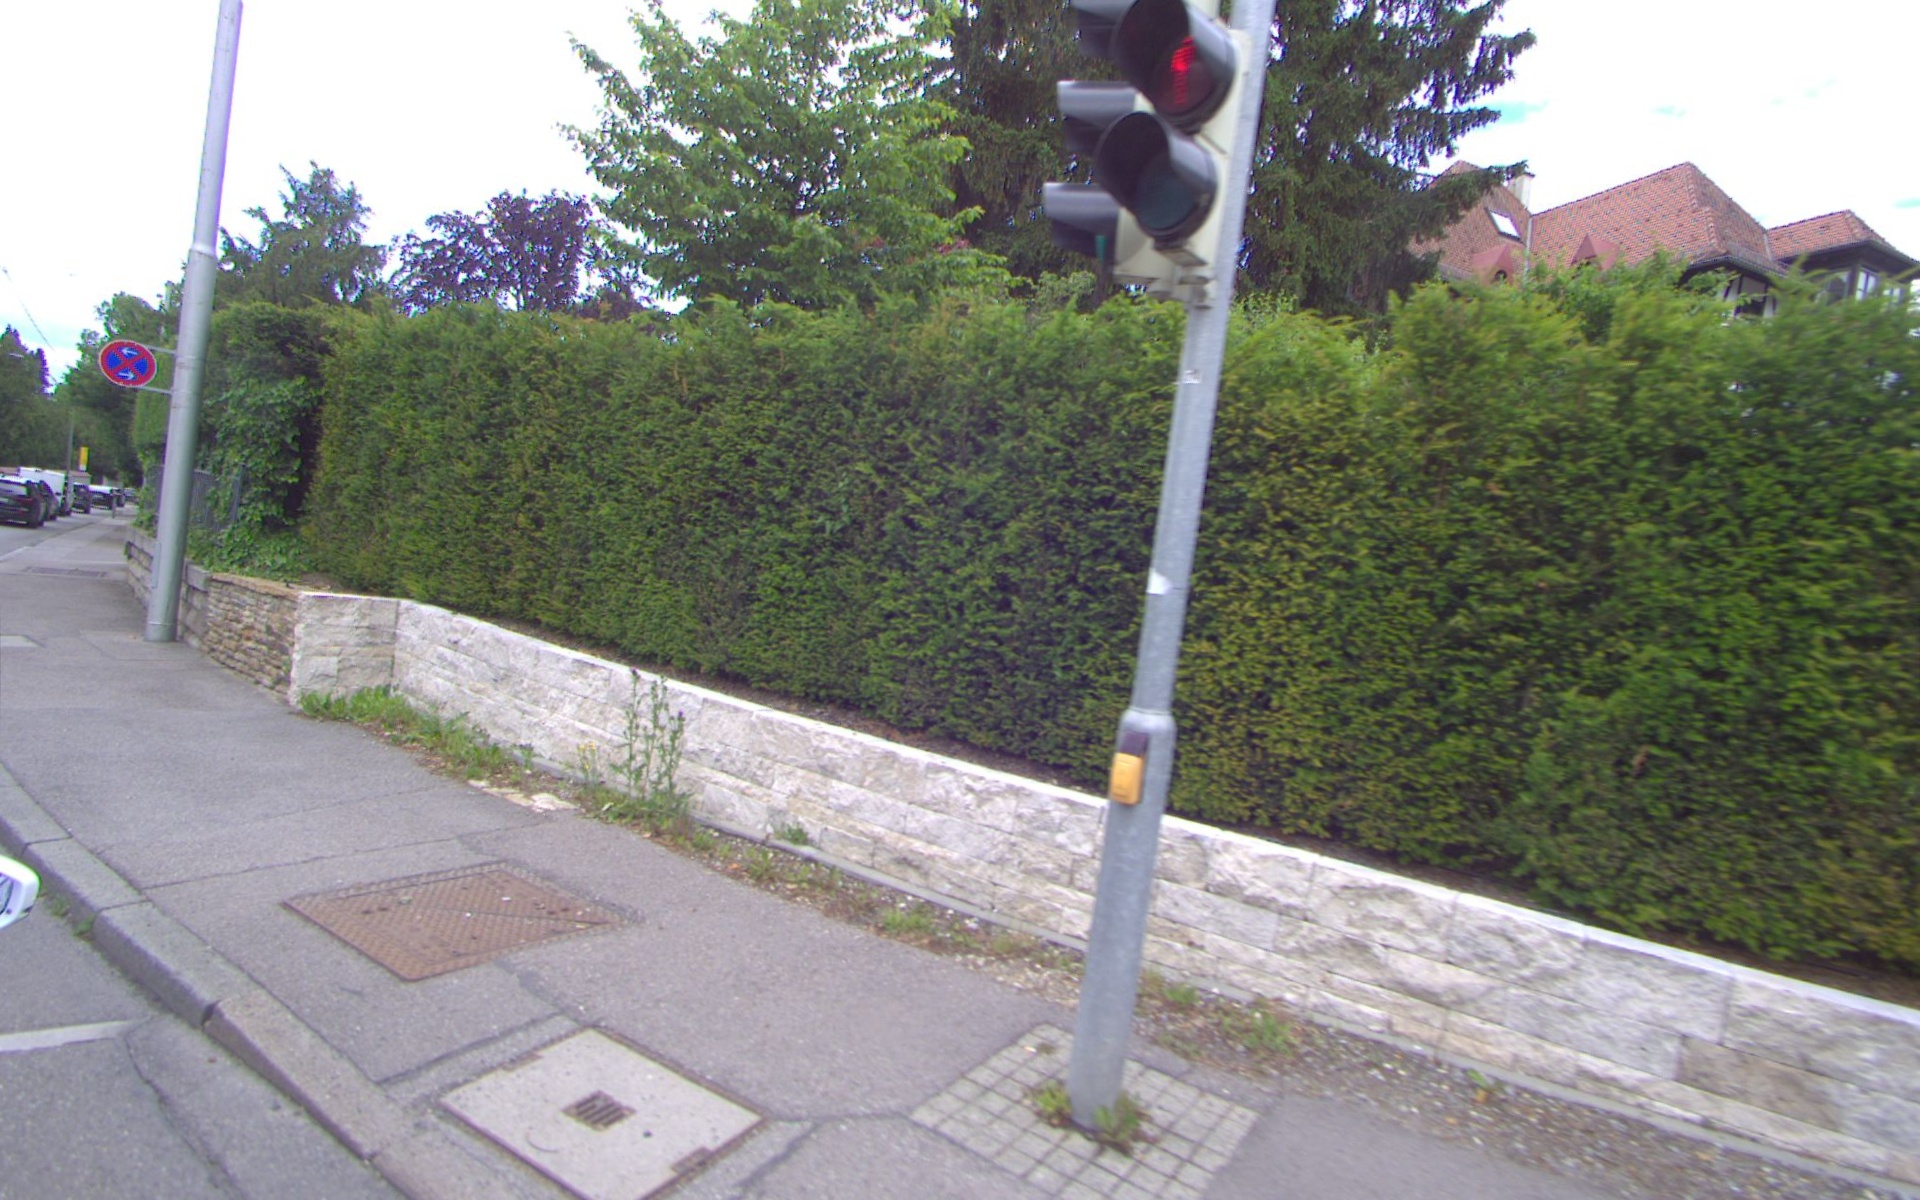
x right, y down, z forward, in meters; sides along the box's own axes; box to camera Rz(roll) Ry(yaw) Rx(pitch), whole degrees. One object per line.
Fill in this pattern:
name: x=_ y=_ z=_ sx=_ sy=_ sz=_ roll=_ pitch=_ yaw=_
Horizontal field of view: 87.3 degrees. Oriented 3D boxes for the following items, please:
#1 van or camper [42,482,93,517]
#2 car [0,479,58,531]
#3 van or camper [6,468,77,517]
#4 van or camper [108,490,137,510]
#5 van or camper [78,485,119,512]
van or camper: x=-50.359 y=-5.694 z=56.726 sx=1.986 sy=1.650 sz=3.950 roll=5 pitch=2 yaw=-43
car: x=-29.646 y=-3.023 z=31.189 sx=1.982 sy=1.422 sz=3.960 roll=7 pitch=0 yaw=-36
van or camper: x=-42.191 y=-4.935 z=46.295 sx=1.983 sy=1.912 sz=3.957 roll=5 pitch=2 yaw=-38
van or camper: x=-83.135 y=-9.951 z=99.860 sx=1.983 sy=1.673 sz=3.957 roll=5 pitch=1 yaw=-38
van or camper: x=-64.004 y=-7.510 z=74.802 sx=1.983 sy=1.673 sz=3.957 roll=5 pitch=1 yaw=-38
